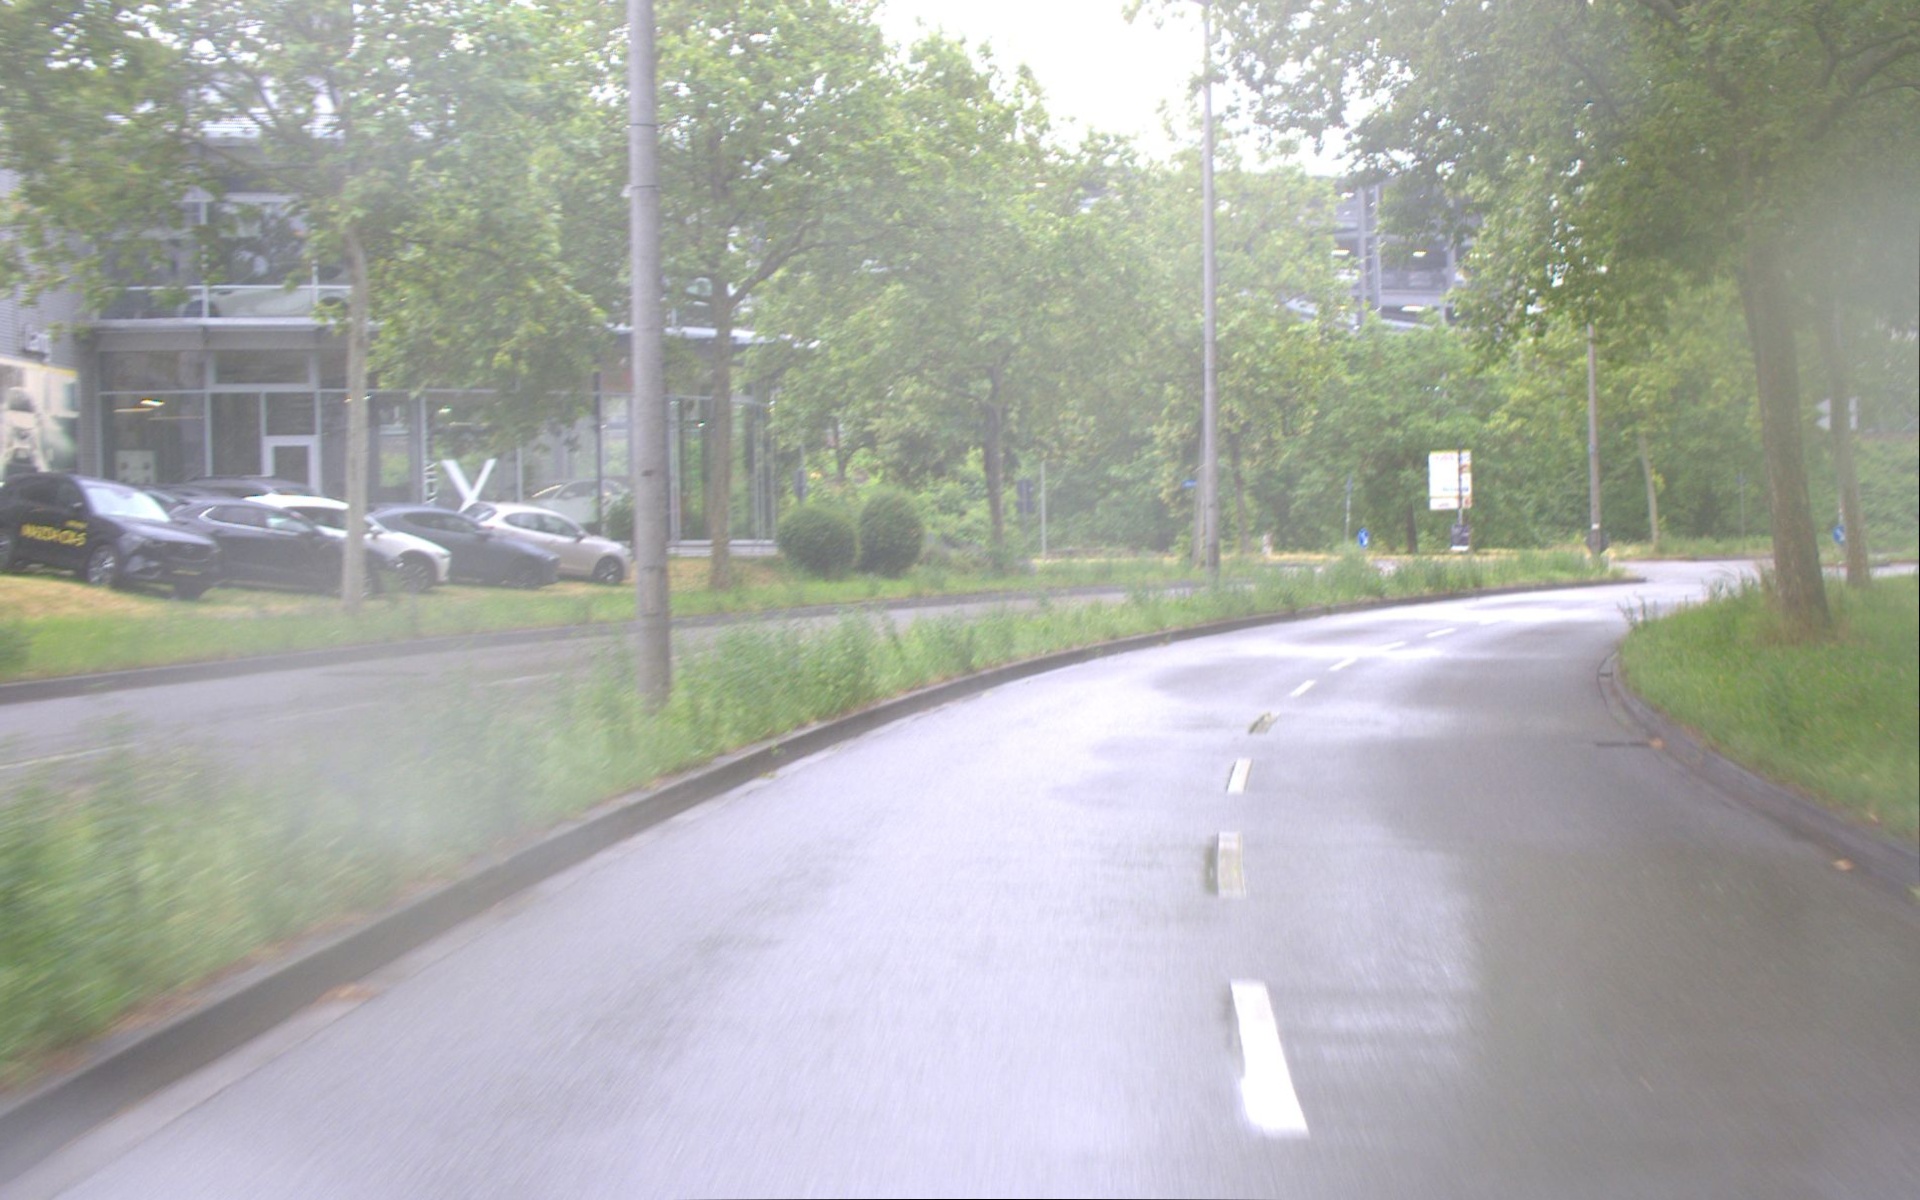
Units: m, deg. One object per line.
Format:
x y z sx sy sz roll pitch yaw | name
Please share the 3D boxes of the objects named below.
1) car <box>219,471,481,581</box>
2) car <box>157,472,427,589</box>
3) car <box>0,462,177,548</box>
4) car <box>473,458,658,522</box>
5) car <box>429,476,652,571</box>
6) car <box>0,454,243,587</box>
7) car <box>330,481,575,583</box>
-10.950 -1.317 61.731 4.116 1.474 1.848 5 4 -31 | car
-11.432 -1.197 58.824 4.115 1.474 1.848 5 4 -23 | car
-16.083 -1.646 59.784 4.422 1.468 1.920 0 1 6 | car
-9.264 -2.575 80.905 4.102 1.471 1.783 -2 2 -45 | car
-8.480 -1.548 69.666 3.987 1.470 1.785 4 4 -36 | car
-13.642 -1.301 55.046 4.434 1.551 1.843 10 5 42 | car
-9.671 -1.296 65.533 4.115 1.417 1.848 5 4 -28 | car
